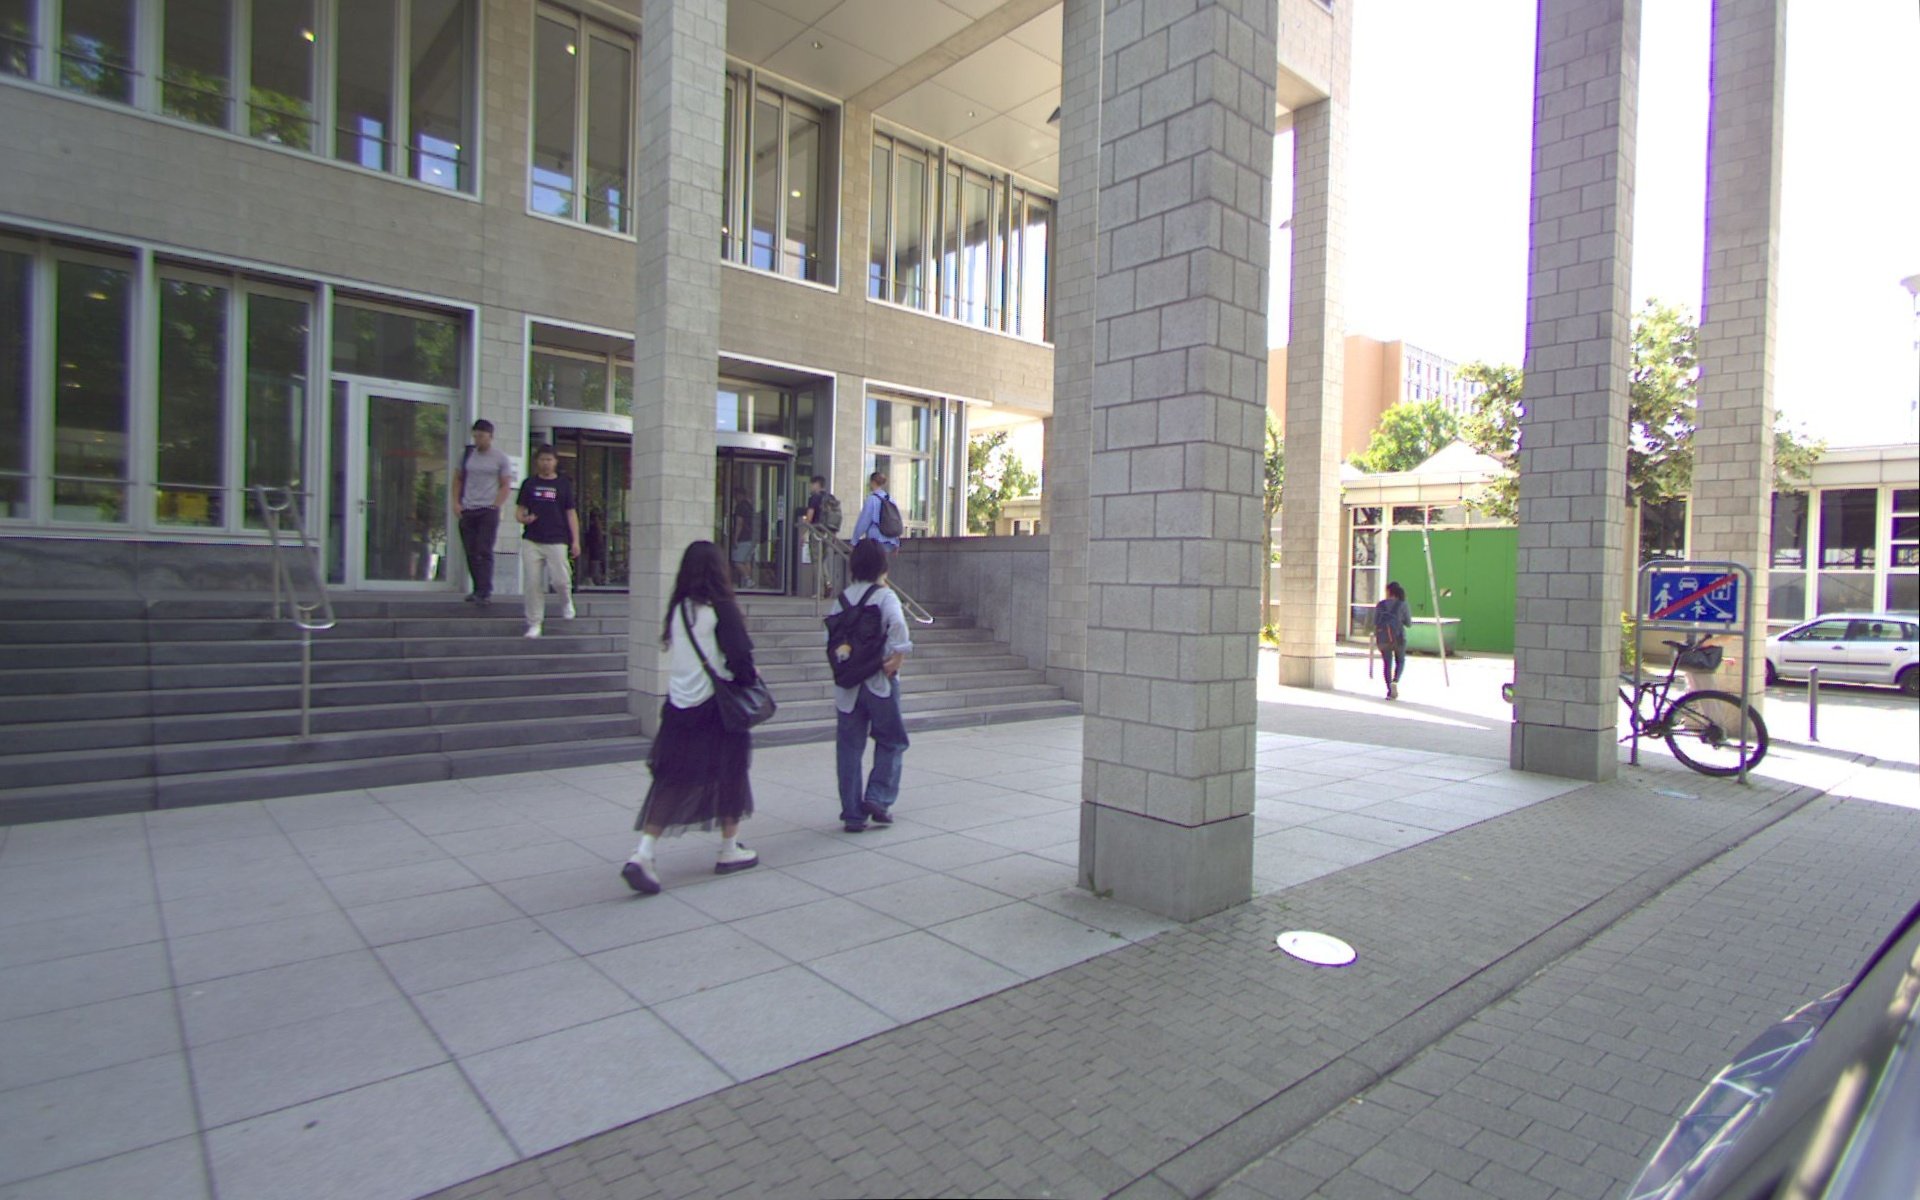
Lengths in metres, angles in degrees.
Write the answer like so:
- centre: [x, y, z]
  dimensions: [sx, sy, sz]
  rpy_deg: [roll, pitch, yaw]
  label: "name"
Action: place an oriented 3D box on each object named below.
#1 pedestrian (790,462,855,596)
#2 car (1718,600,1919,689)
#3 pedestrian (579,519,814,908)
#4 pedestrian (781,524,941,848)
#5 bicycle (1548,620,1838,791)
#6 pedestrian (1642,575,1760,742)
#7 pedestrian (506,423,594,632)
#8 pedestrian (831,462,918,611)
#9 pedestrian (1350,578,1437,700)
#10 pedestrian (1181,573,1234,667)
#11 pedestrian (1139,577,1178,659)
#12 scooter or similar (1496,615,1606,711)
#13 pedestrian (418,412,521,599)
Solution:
- centre: [-1.952, -0.989, 14.368]
  dimensions: [0.683, 1.825, 0.581]
  rpy_deg: [2, 0, 43]
  label: "pedestrian"
- centre: [17.389, 0.820, 19.836]
  dimensions: [1.625, 1.494, 3.774]
  rpy_deg: [-2, 3, -40]
  label: "car"
- centre: [-1.197, 0.467, 4.719]
  dimensions: [0.795, 1.637, 0.738]
  rpy_deg: [2, 1, 11]
  label: "pedestrian"
- centre: [-0.539, 0.437, 5.793]
  dimensions: [0.665, 1.691, 0.896]
  rpy_deg: [1, 0, 12]
  label: "pedestrian"
- centre: [6.153, 0.822, 8.588]
  dimensions: [1.882, 1.178, 0.595]
  rpy_deg: [4, 2, 45]
  label: "bicycle"
- centre: [7.907, 0.589, 10.805]
  dimensions: [0.691, 1.676, 0.880]
  rpy_deg: [1, 0, -44]
  label: "pedestrian"
- centre: [-3.822, -0.641, 9.423]
  dimensions: [0.688, 1.826, 0.884]
  rpy_deg: [1, 0, -24]
  label: "pedestrian"
- centre: [-1.054, -0.759, 12.426]
  dimensions: [0.633, 1.746, 0.865]
  rpy_deg: [1, 0, -42]
  label: "pedestrian"
- centre: [5.978, 0.514, 13.962]
  dimensions: [0.818, 1.594, 0.867]
  rpy_deg: [2, 1, 44]
  label: "pedestrian"
- centre: [4.711, 0.365, 19.314]
  dimensions: [0.765, 1.746, 0.860]
  rpy_deg: [2, 0, 1]
  label: "pedestrian"
- centre: [4.041, 0.350, 20.635]
  dimensions: [0.579, 1.619, 0.827]
  rpy_deg: [2, 0, 1]
  label: "pedestrian"
- centre: [7.845, 0.813, 13.460]
  dimensions: [0.436, 1.165, 1.158]
  rpy_deg: [1, 1, -36]
  label: "scooter or similar"
- centre: [-4.659, -0.868, 9.672]
  dimensions: [0.688, 1.676, 0.884]
  rpy_deg: [1, 0, -15]
  label: "pedestrian"
